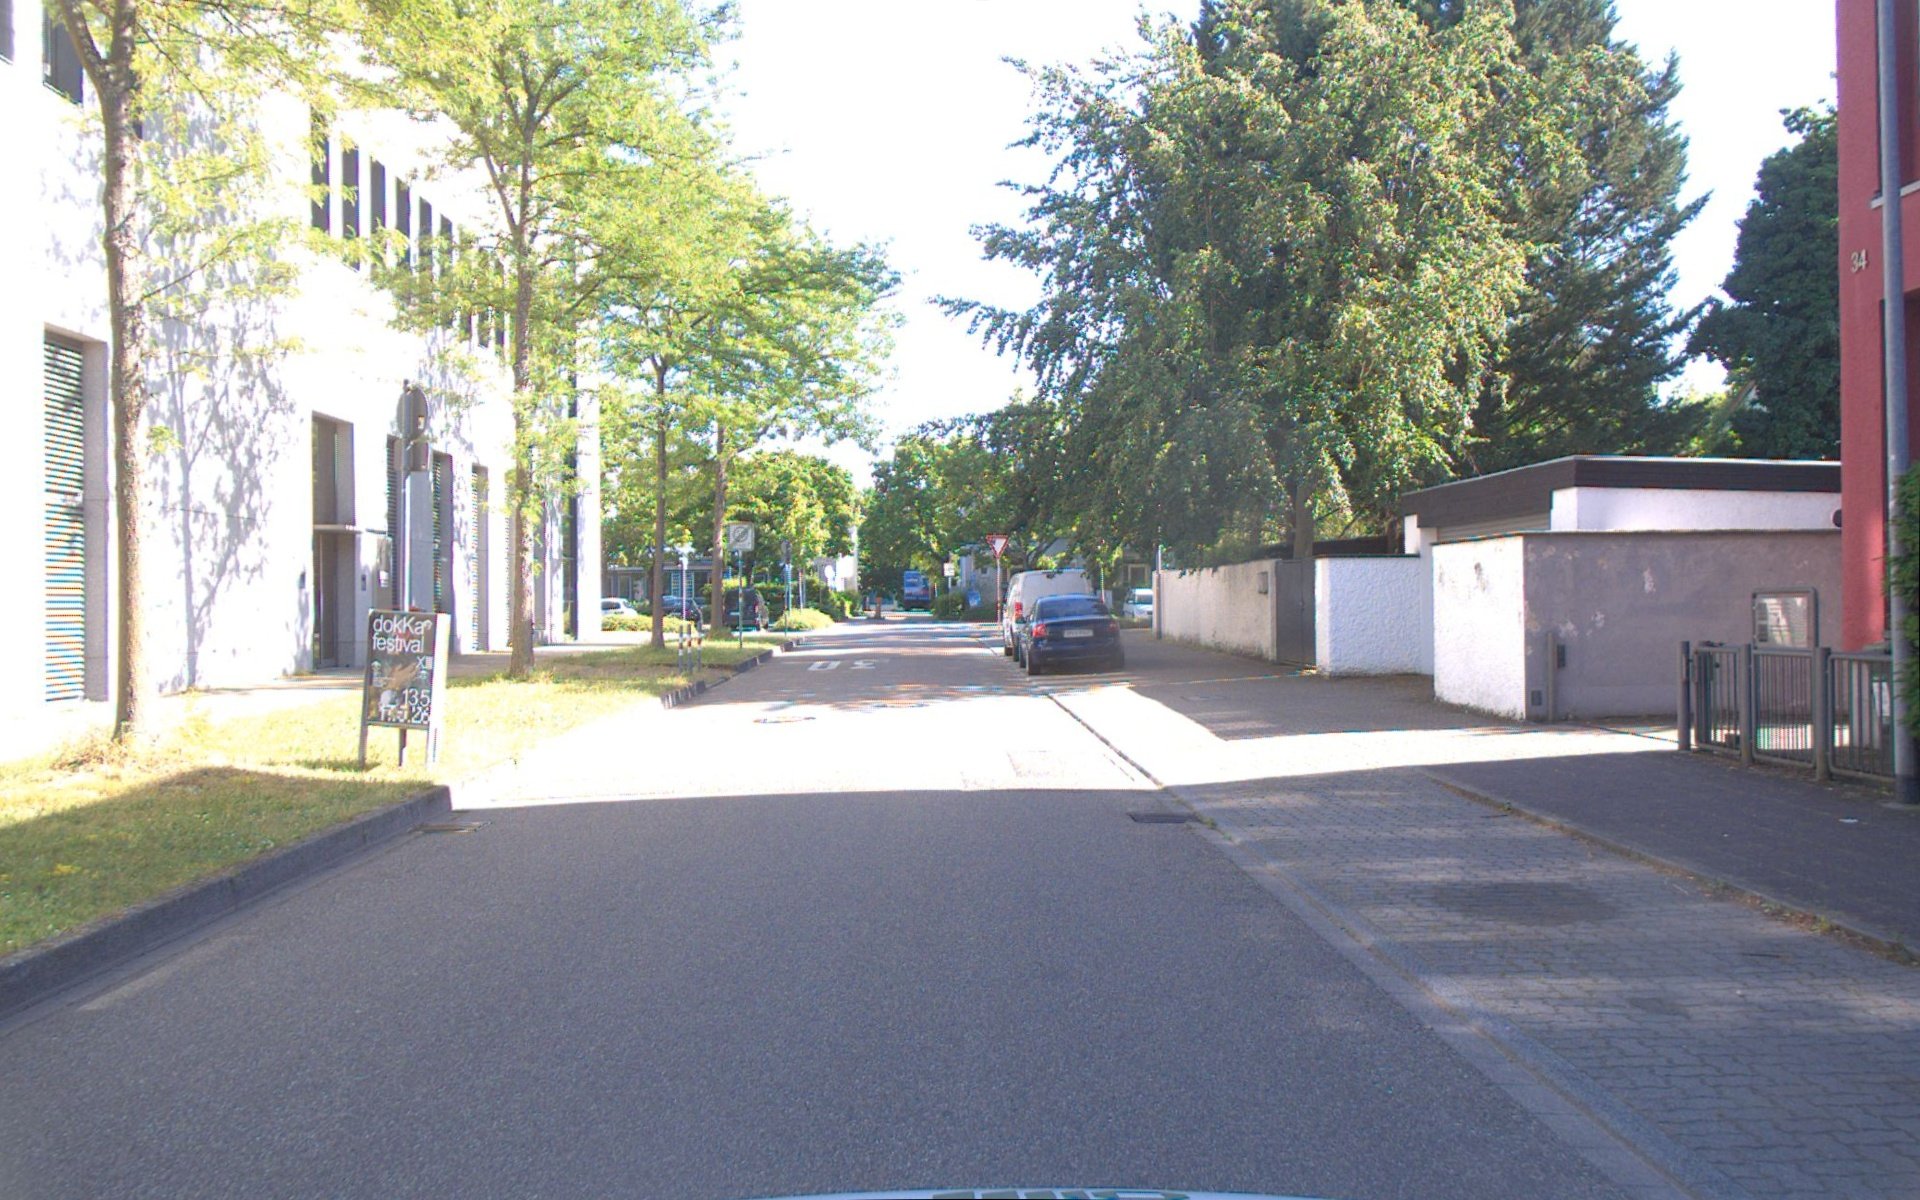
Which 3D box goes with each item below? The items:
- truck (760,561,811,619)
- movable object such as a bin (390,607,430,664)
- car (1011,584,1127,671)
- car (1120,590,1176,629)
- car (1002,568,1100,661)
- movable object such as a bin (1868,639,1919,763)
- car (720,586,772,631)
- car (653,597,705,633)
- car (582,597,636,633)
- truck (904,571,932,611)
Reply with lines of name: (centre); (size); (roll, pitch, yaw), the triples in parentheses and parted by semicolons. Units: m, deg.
truck: (-12.045, -0.668, 114.507); (2.745, 3.873, 6.924); (1, 0, 0)
movable object such as a bin: (-10.418, 0.668, 31.345); (0.581, 1.058, 0.543); (1, 0, -3)
car: (2.006, 0.484, 31.541); (1.789, 1.448, 4.282); (-3, 0, -1)
car: (8.365, 0.403, 73.828); (1.787, 1.625, 4.166); (-1, 1, -3)
car: (1.995, 0.300, 37.792); (1.860, 1.947, 5.147); (-1, 0, -1)
movable object such as a bin: (7.310, 0.769, 12.649); (0.467, 0.916, 0.475); (1, 0, 0)
car: (-9.474, 0.358, 73.460); (1.836, 1.879, 4.167); (-1, 1, -2)
car: (-12.404, 0.642, 73.212); (1.787, 1.430, 4.166); (-1, 1, -3)
car: (-15.505, 0.655, 73.252); (1.767, 1.461, 3.910); (0, 1, -3)
truck: (-4.213, -0.870, 168.224); (2.704, 3.937, 9.327); (1, 0, -1)
